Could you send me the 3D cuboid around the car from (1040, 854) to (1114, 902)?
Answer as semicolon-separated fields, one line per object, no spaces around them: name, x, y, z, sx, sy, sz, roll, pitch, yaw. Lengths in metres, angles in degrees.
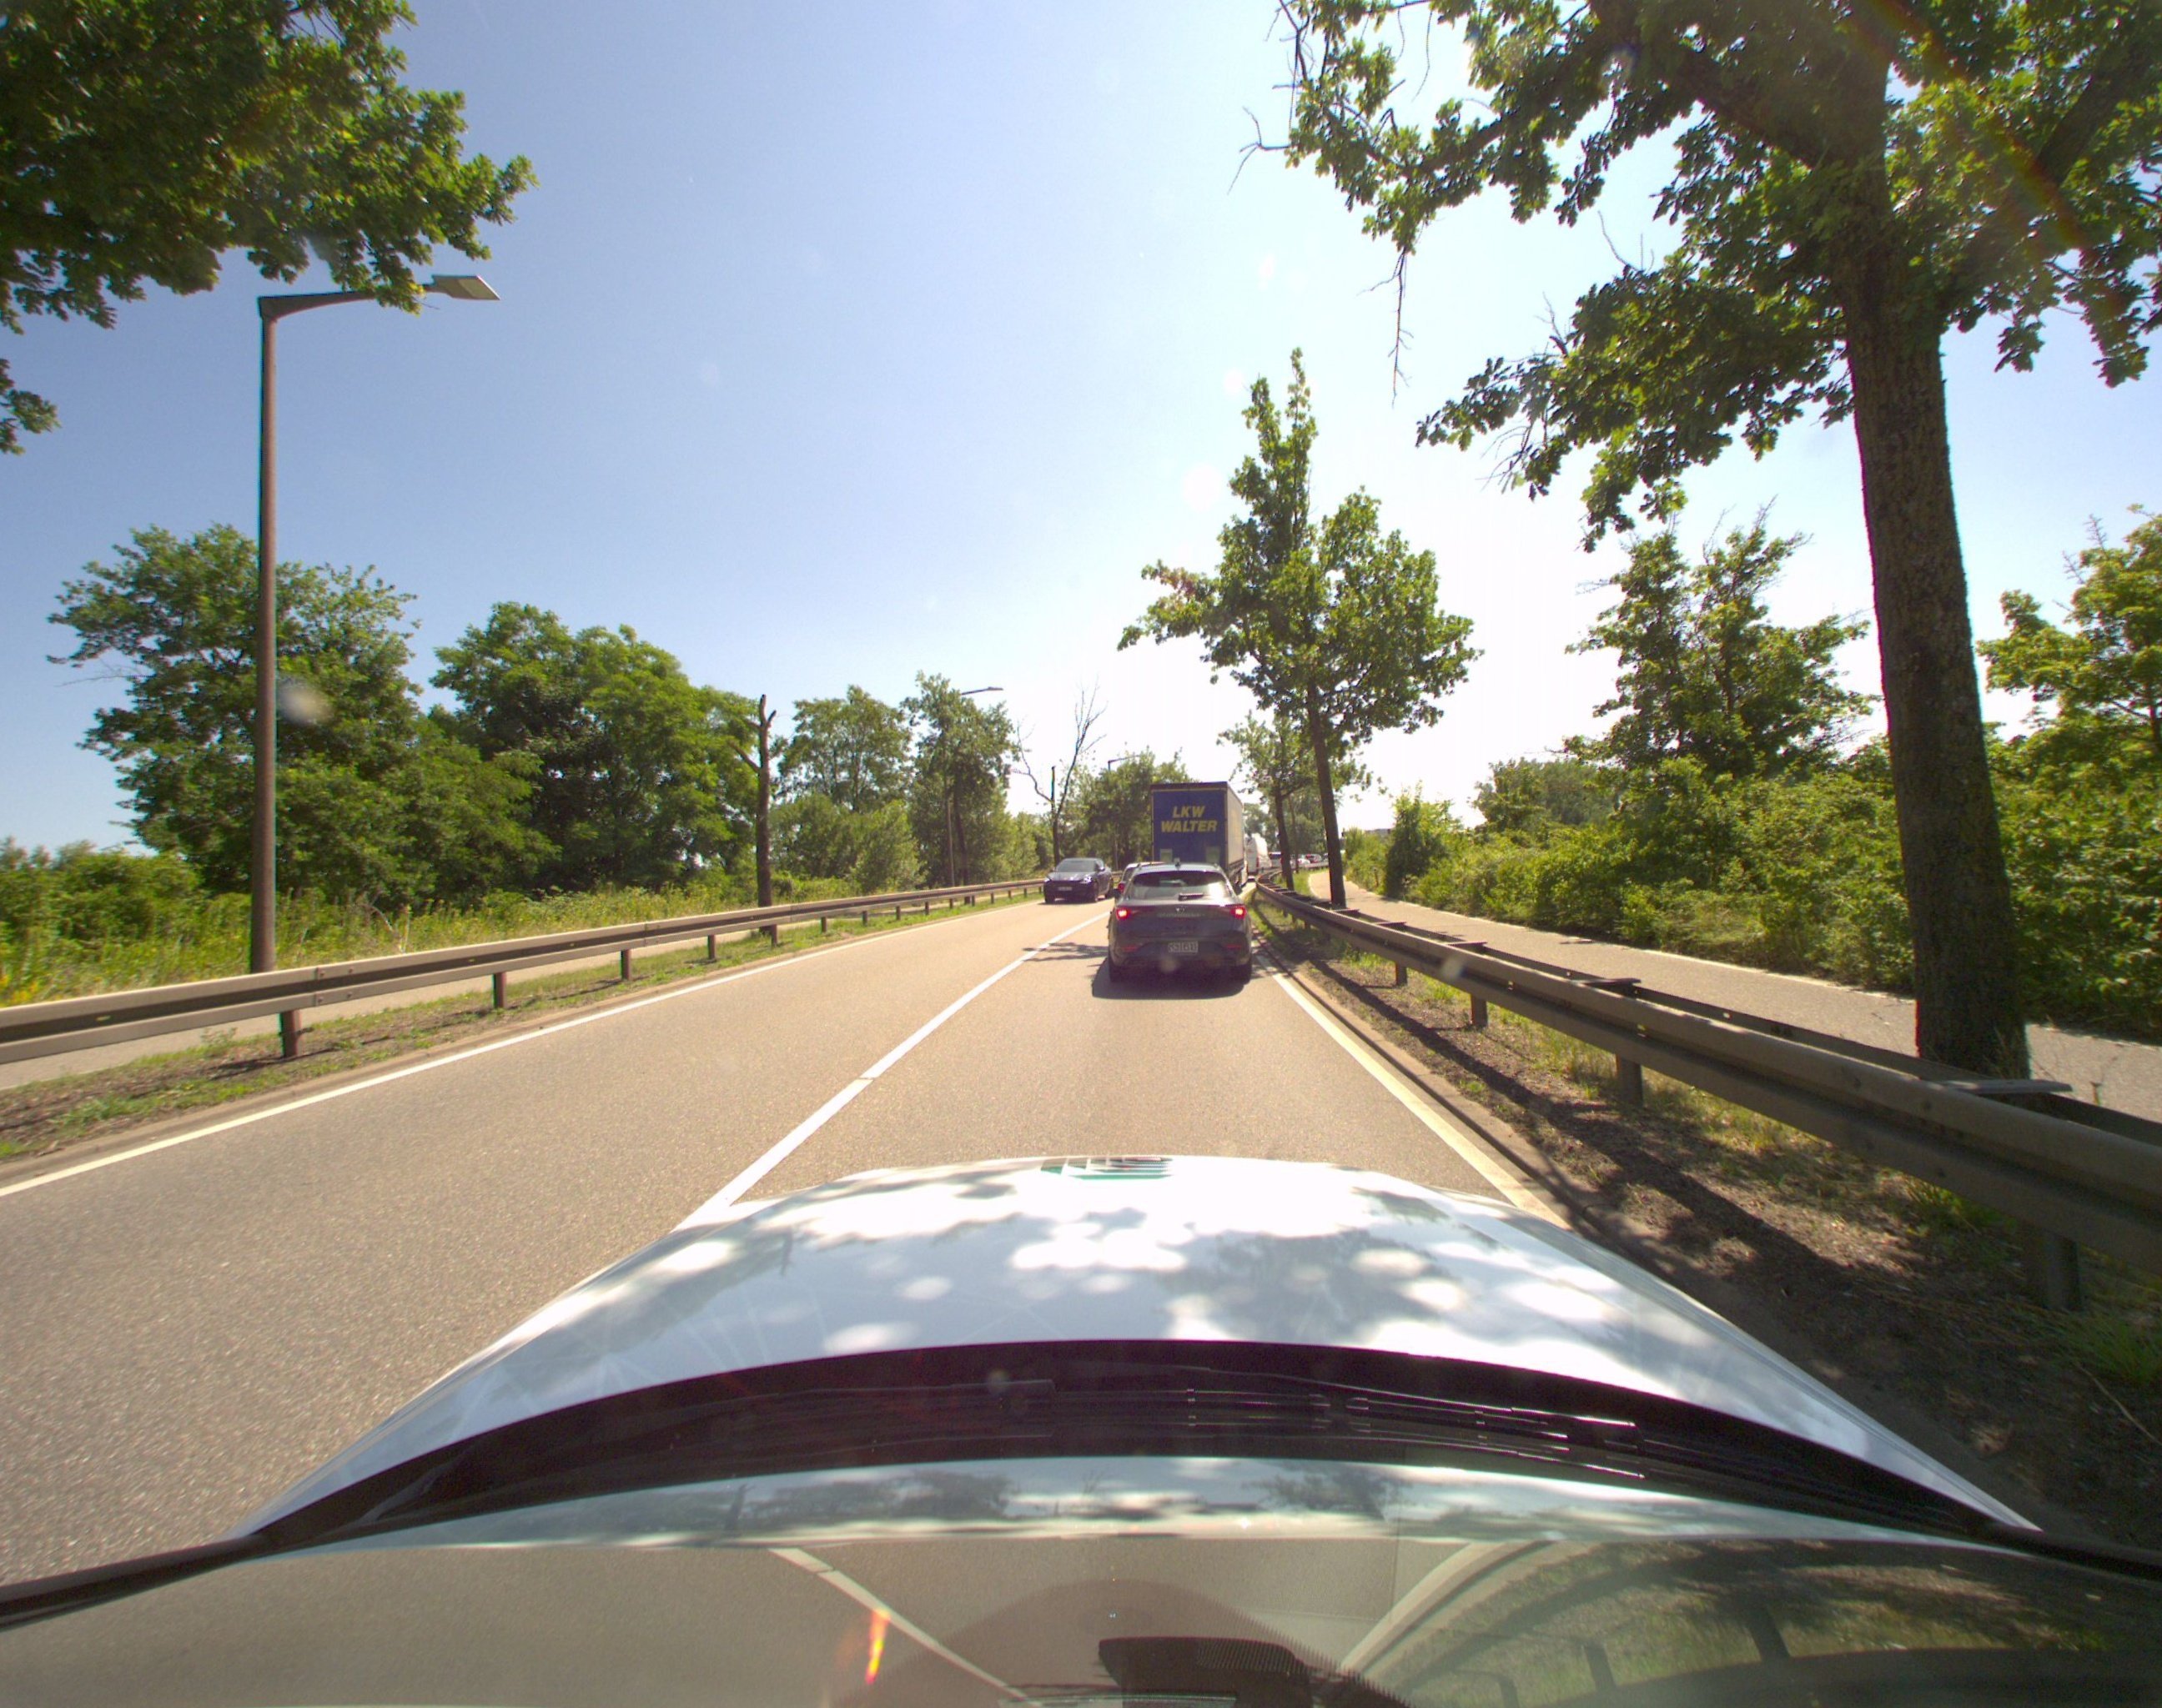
car;-0.054;0.848;30.285;1.857;1.603;4.407;-1;0;12

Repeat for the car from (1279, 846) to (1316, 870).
car;17.234;0.343;64.735;1.975;1.808;4.873;-1;-1;25

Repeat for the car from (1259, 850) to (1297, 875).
car;14.228;0.581;58.575;1.976;1.712;4.645;-1;-1;22

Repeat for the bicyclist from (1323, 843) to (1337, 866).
bicyclist;16.714;0.064;54.634;0.853;1.523;0.985;-1;-1;21

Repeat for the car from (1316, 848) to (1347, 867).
car;23.874;0.317;77.556;1.975;1.768;4.783;-1;-1;27

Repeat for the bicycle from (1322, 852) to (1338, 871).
bicycle;16.741;0.512;54.691;0.853;1.237;2.322;-1;-1;22

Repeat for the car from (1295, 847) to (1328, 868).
car;20.192;0.319;71.356;1.975;1.717;4.896;-1;-1;25

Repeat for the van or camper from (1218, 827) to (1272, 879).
van or camper;10.094;-0.030;49.799;2.446;2.998;6.114;-1;-1;18

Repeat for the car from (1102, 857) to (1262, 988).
car;1.246;0.777;10.943;1.736;1.432;3.884;-1;-1;4

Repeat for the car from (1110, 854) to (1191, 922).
car;1.828;0.788;20.344;1.799;1.508;4.008;-1;-1;7

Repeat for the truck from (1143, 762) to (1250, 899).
truck;5.476;-0.703;34.951;2.929;4.449;16.858;-1;-1;13
